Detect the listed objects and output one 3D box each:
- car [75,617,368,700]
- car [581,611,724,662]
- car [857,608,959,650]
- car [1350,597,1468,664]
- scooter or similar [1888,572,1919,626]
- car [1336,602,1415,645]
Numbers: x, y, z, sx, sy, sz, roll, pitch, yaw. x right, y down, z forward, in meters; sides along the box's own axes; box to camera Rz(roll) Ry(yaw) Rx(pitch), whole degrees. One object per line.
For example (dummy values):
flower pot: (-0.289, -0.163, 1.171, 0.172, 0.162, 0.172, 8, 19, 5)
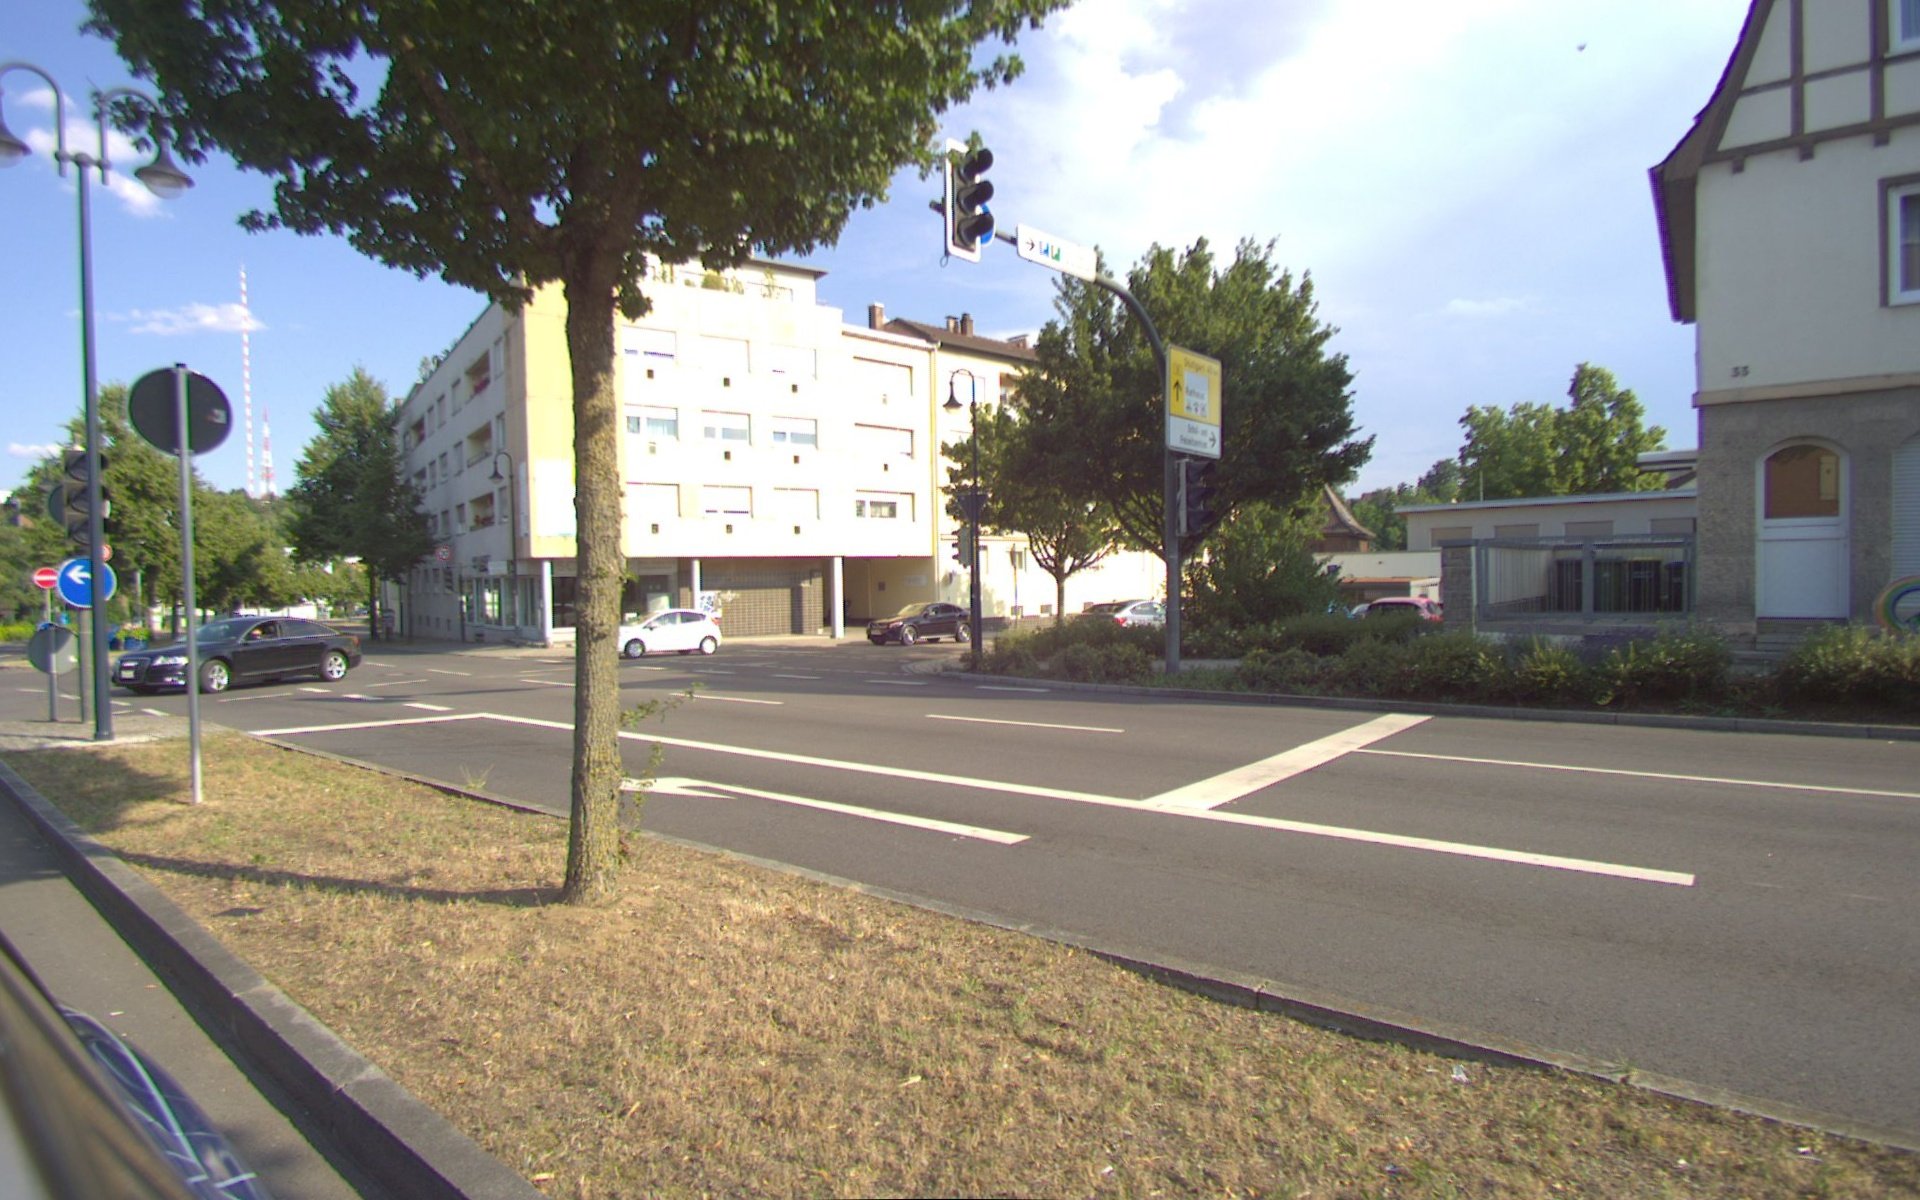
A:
car: (-14.740, 1.085, 20.634, 1.897, 1.447, 4.856, -1, -1, 12)
car: (-9.384, 1.080, 31.040, 3.768, 1.447, 1.869, 0, -1, -44)
car: (-1.921, 1.052, 37.742, 3.539, 1.447, 1.749, 0, -1, -45)
car: (10.904, 0.678, 24.475, 1.562, 1.481, 3.562, -1, 0, 43)
scooter or similar: (10.837, -0.022, 11.005, 1.042, 0.586, 0.439, -2, -1, 38)
car: (14.702, 0.803, 35.733, 1.745, 1.410, 3.612, -1, -1, 37)
